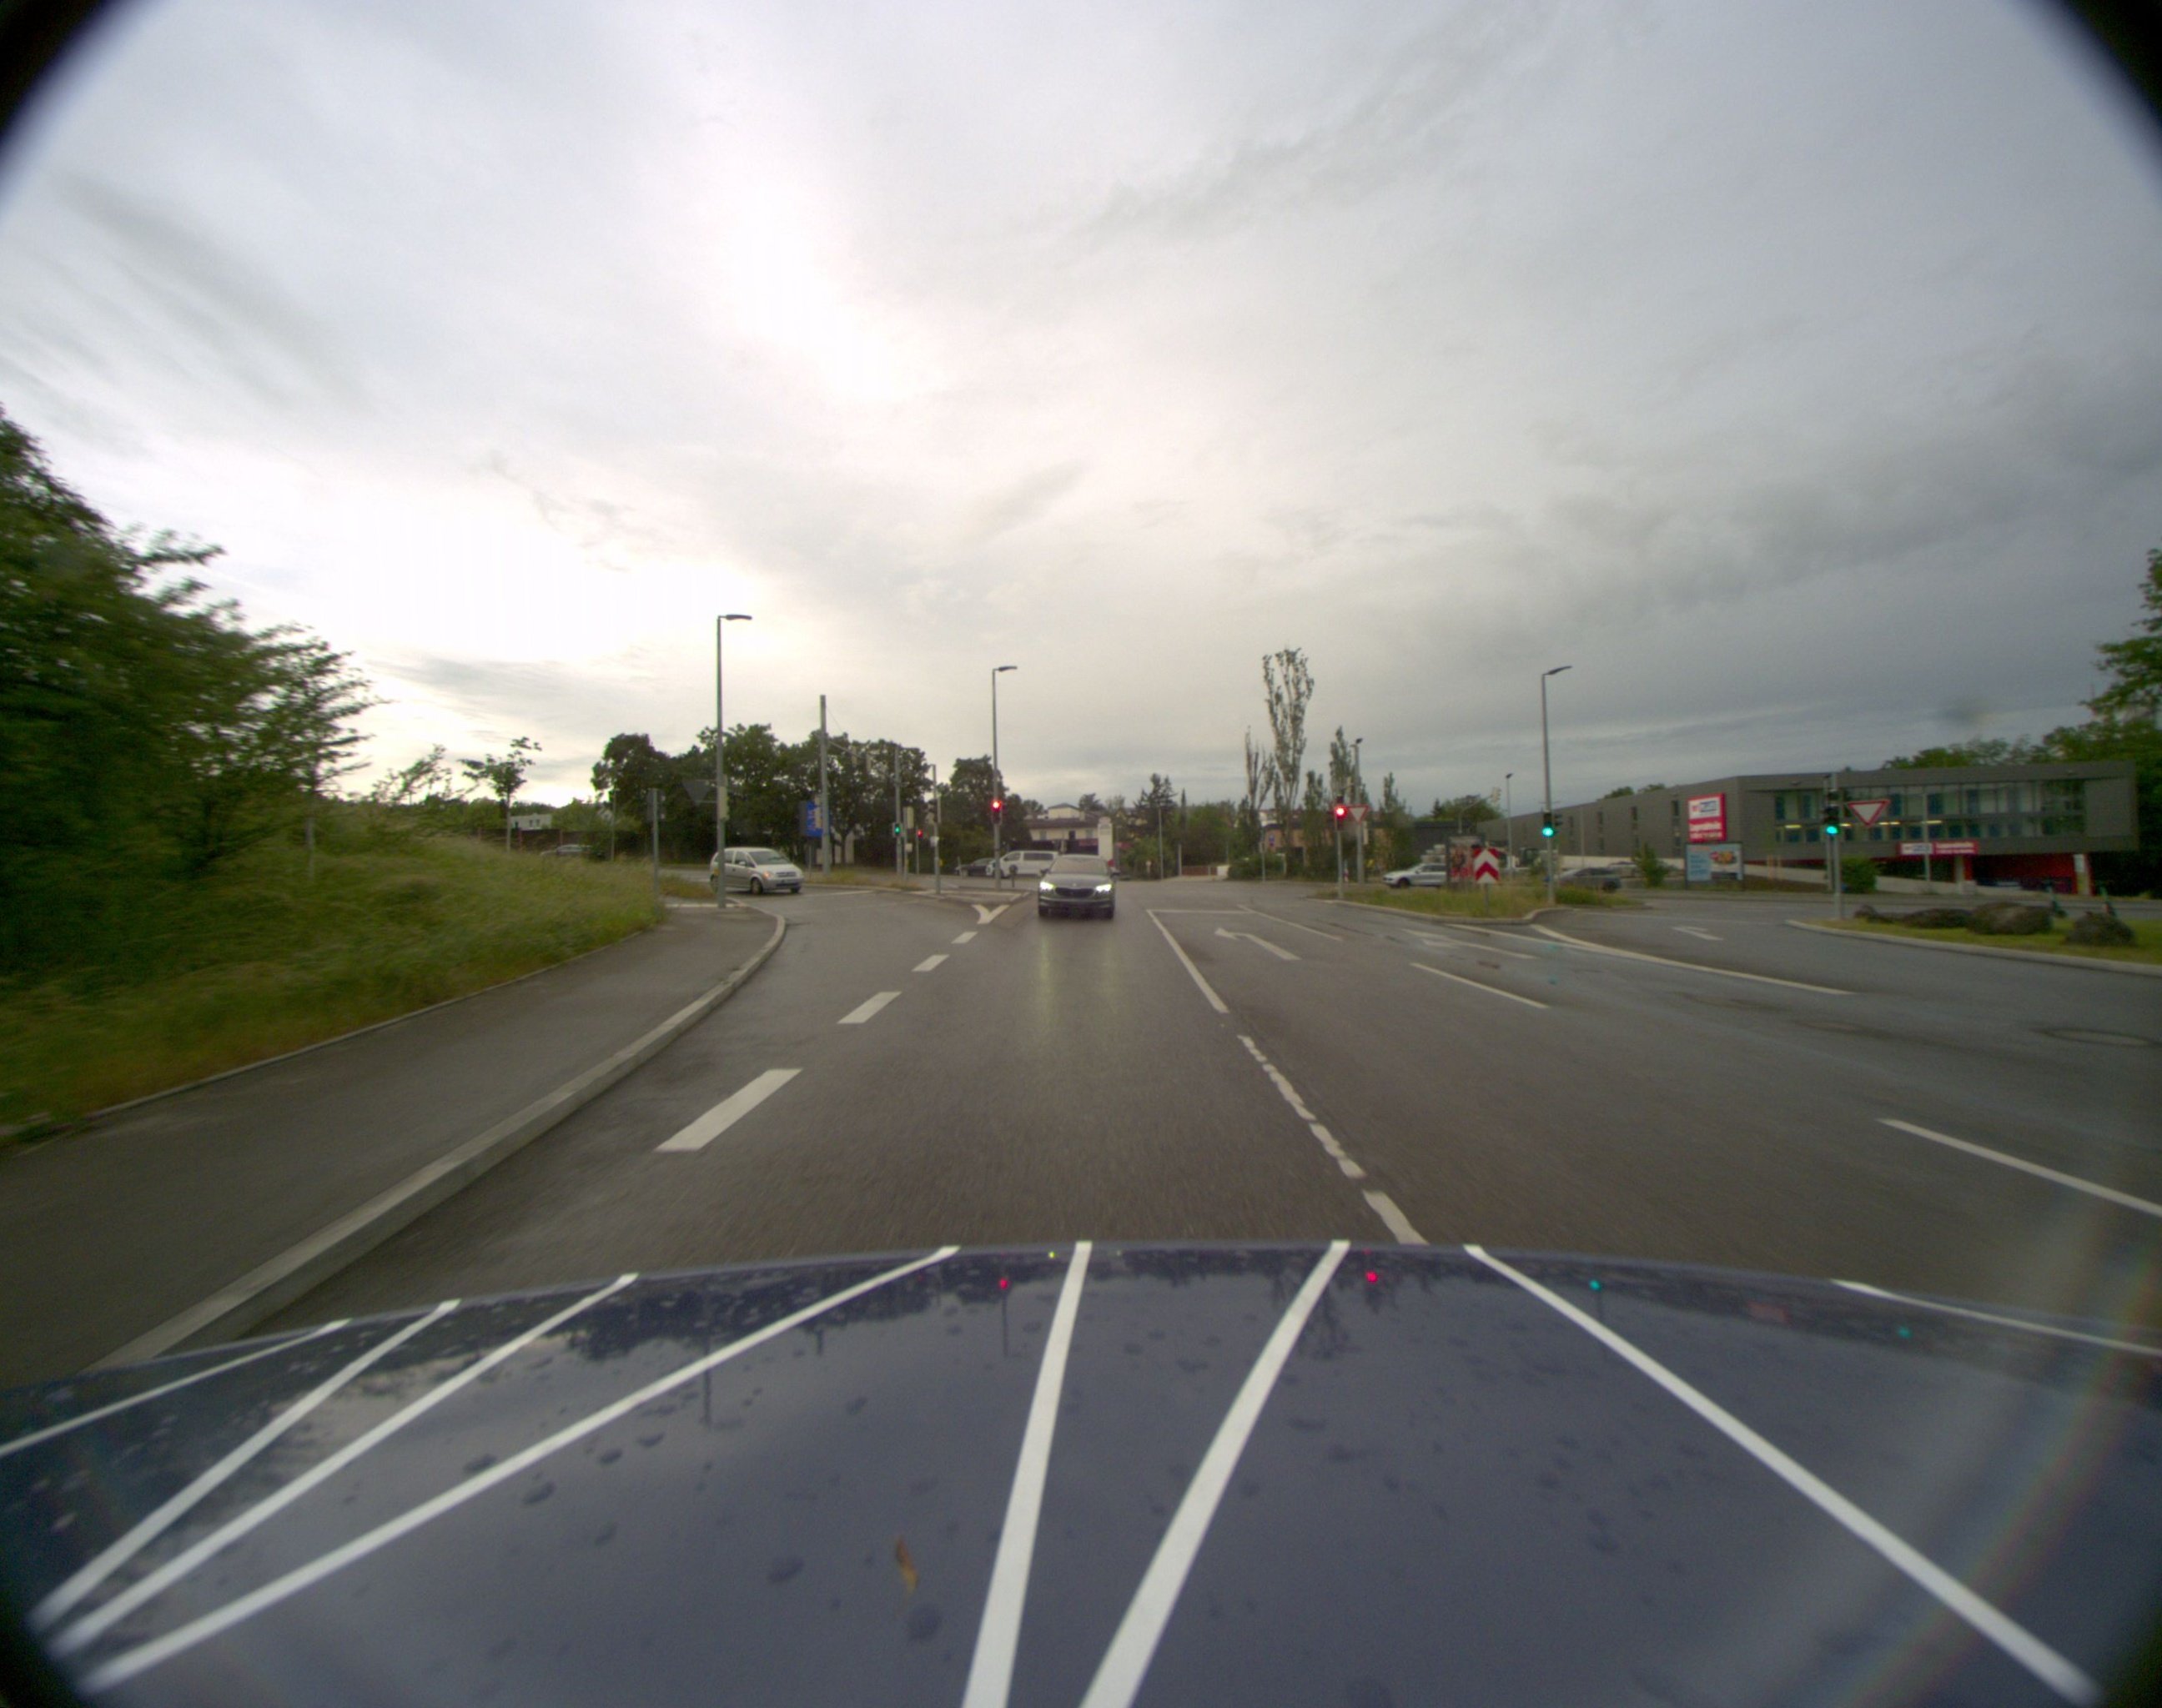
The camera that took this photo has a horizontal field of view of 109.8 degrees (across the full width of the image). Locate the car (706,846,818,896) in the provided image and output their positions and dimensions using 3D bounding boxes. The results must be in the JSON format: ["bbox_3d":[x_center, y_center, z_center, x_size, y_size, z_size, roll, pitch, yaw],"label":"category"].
[{"bbox_3d":[-11.577,0.587,27.520,4.051,1.596,1.826,-1,3,36],"label":"car"}]

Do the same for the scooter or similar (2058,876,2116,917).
[{"bbox_3d":[31.694,1.319,23.946,1.226,1.251,0.517,1,-1,-5],"label":"scooter or similar"}]

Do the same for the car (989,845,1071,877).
[{"bbox_3d":[-3.333,0.473,50.291,5.188,2.022,1.841,1,-1,5],"label":"car"}]

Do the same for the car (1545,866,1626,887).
[{"bbox_3d":[33.118,1.476,49.977,4.037,1.396,1.842,0,-1,7],"label":"car"}]

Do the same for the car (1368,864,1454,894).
[{"bbox_3d":[20.623,1.546,47.660,4.619,1.692,1.842,1,-1,8],"label":"car"}]

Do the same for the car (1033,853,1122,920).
[{"bbox_3d":[0.037,0.753,18.809,1.838,1.448,4.204,-1,-1,4],"label":"car"}]

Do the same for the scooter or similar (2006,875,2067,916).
[{"bbox_3d":[30.228,1.312,24.040,1.357,1.251,0.549,1,-1,-5],"label":"scooter or similar"}]

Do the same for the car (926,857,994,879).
[{"bbox_3d":[-8.606,1.003,54.301,4.477,1.396,1.841,1,-1,6],"label":"car"}]

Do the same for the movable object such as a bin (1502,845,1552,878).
[{"bbox_3d":[37.332,0.622,63.692,2.997,2.611,1.929,1,-1,0],"label":"movable object such as a bin"}]
